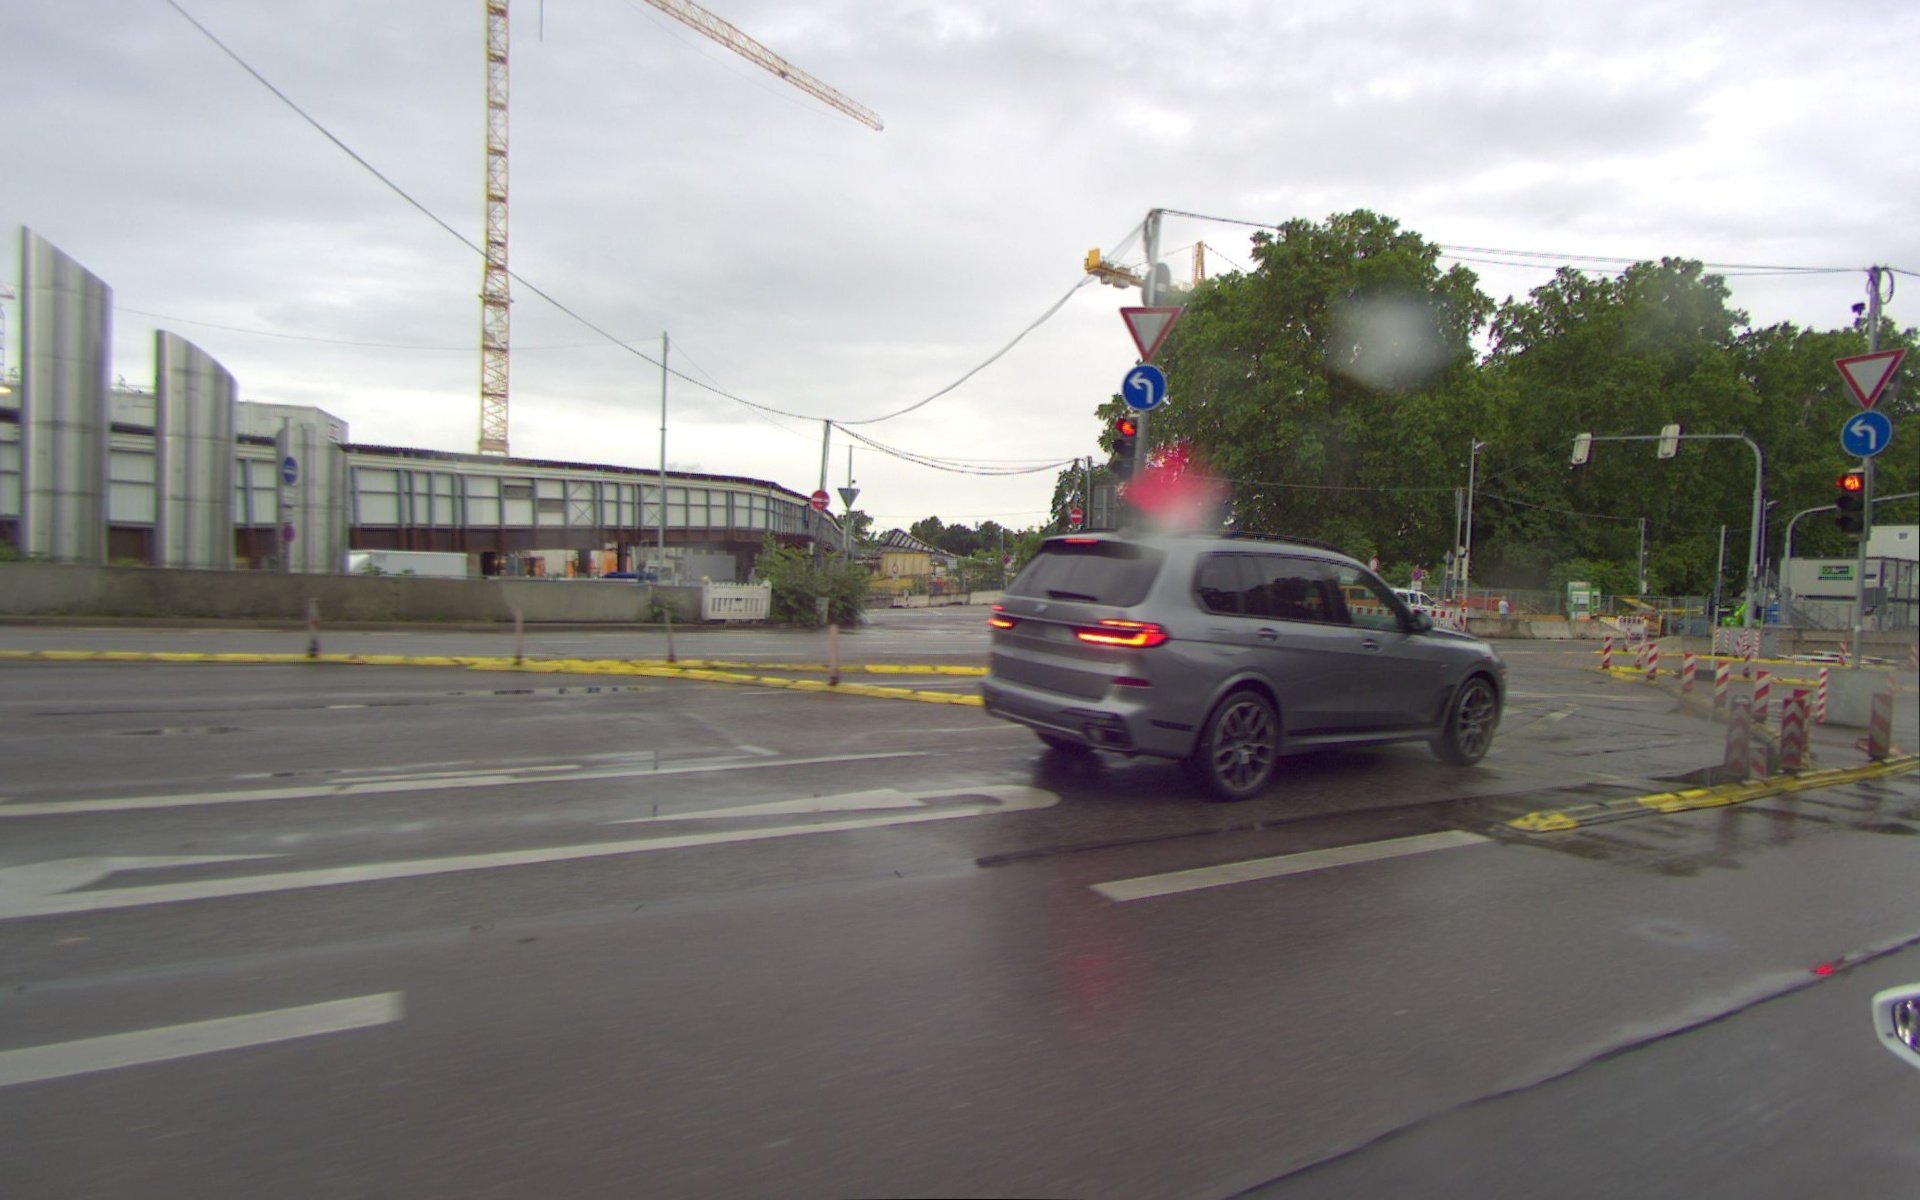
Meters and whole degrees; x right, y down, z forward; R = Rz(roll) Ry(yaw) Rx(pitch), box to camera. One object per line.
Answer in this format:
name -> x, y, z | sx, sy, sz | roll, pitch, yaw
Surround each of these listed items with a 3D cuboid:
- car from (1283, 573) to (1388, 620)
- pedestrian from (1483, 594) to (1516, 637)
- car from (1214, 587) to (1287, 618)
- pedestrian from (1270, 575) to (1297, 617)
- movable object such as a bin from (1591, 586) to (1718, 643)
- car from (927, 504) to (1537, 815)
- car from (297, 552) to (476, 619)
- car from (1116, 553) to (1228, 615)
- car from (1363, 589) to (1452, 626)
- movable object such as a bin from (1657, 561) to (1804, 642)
car -> 18.326, -0.116, 48.876 | 5.525, 2.128, 1.981 | 2, -1, -34
pedestrian -> 26.976, 0.749, 50.206 | 1.165, 2.041, 1.168 | 4, 3, 40
car -> 14.305, 0.144, 49.365 | 3.806, 1.434, 1.741 | 1, 1, -43
pedestrian -> 15.725, -0.200, 48.806 | 0.731, 2.041, 0.913 | 1, 2, -36
movable object such as a bin -> 41.621, 0.883, 60.213 | 6.314, 3.170, 3.912 | 2, 1, -31
car -> 2.440, 0.364, 8.442 | 5.023, 1.888, 2.194 | 1, 2, -35
car -> -18.990, -0.457, 33.560 | 1.962, 2.041, 5.023 | 2, 1, 23
car -> 11.623, -0.842, 55.003 | 6.101, 3.107, 2.261 | 2, 1, -32
car -> 23.223, 0.393, 52.103 | 4.743, 1.785, 1.835 | 2, 1, -31
movable object such as a bin -> 49.467, 0.118, 64.482 | 8.263, 4.867, 4.726 | 2, 1, -31
